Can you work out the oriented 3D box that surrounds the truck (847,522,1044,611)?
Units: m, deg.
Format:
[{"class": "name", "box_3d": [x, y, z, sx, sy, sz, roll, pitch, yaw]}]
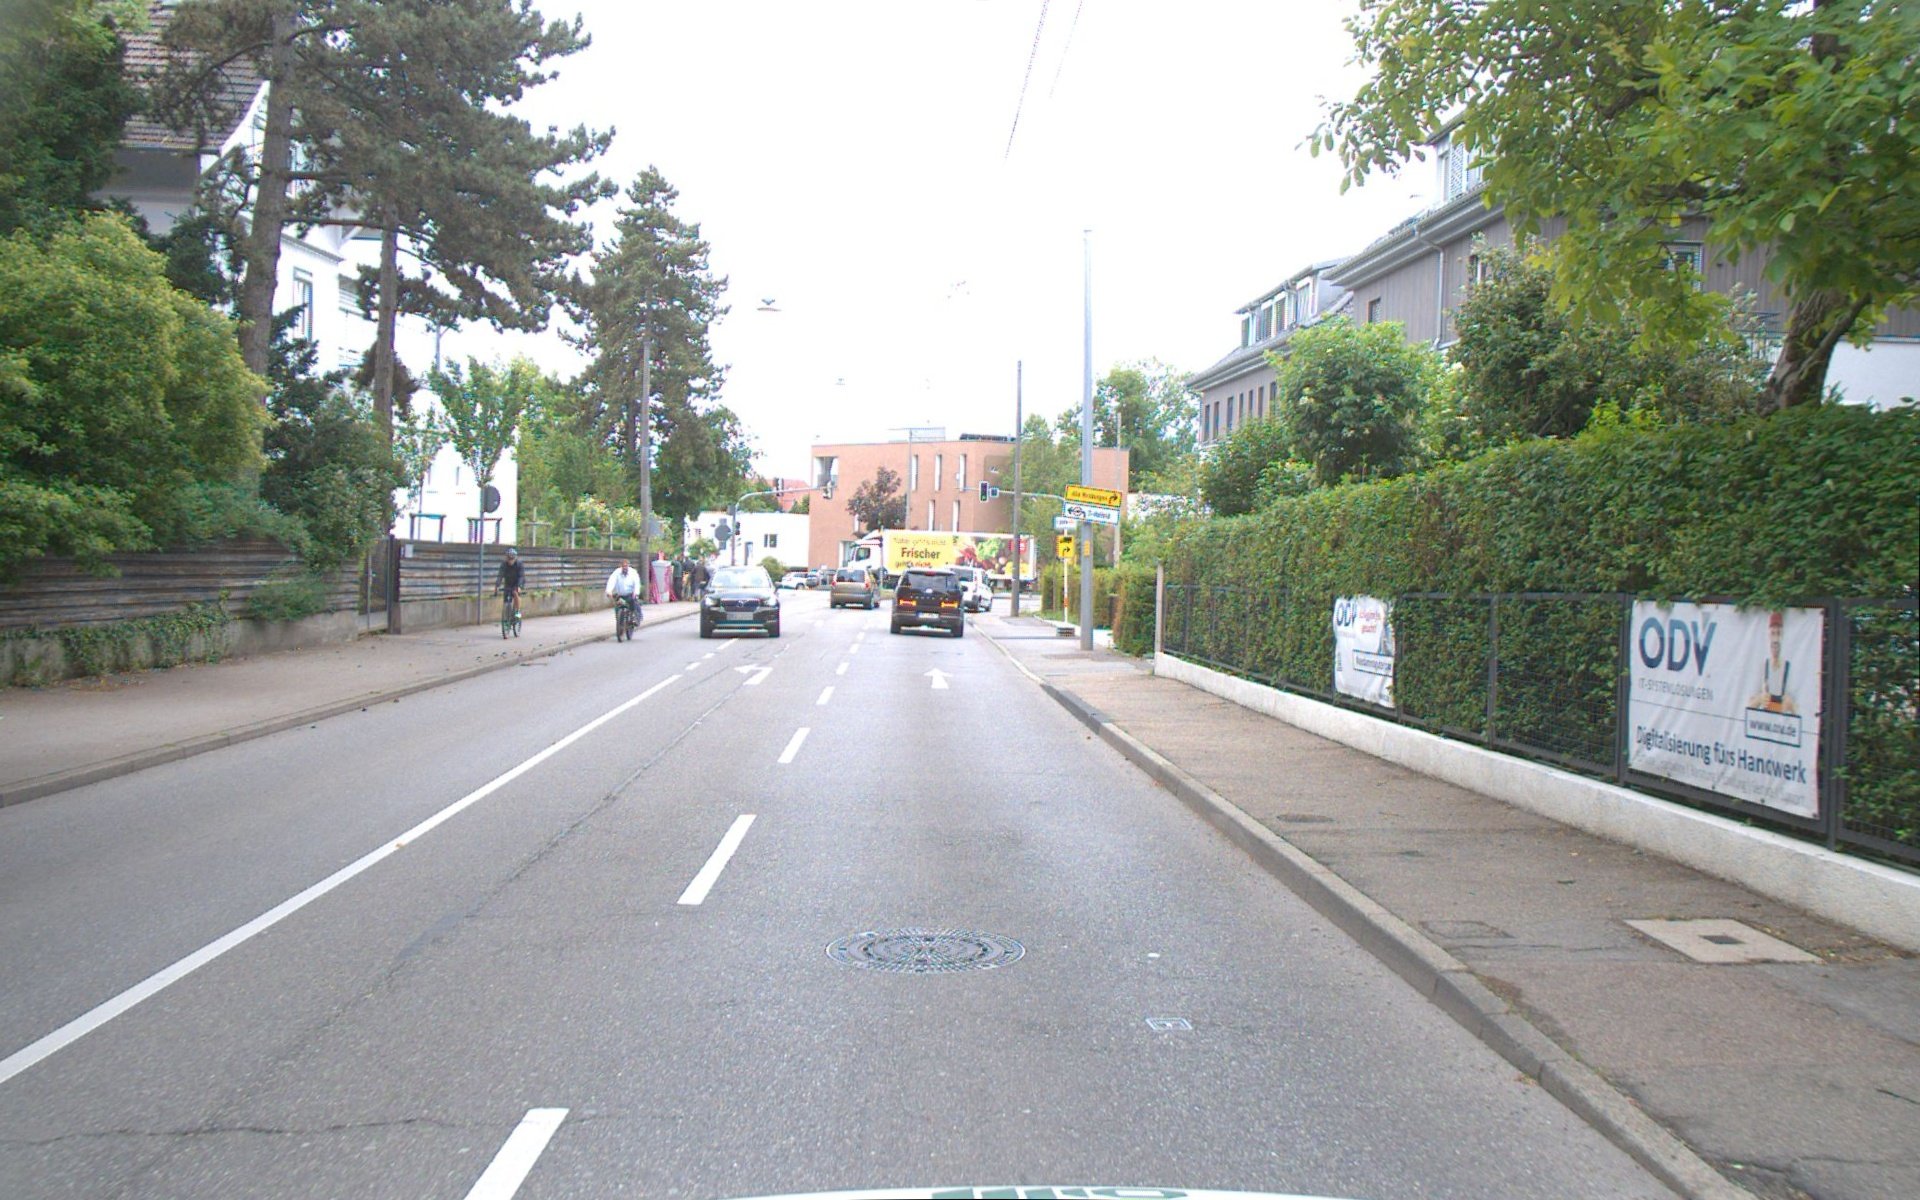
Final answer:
[{"class": "truck", "box_3d": [-0.917, -2.013, 99.534, 11.523, 4.817, 3.133, 2, 1, -4]}]

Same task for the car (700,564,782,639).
[{"class": "car", "box_3d": [-5.157, -0.011, 39.185, 1.797, 1.659, 4.277, 0, 1, -7]}]

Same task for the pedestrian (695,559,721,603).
[{"class": "pedestrian", "box_3d": [-10.389, -0.794, 68.098, 0.683, 1.764, 0.748, 3, 1, 42]}]

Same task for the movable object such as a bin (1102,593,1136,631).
[{"class": "movable object such as a bin", "box_3d": [4.857, 0.371, 50.413, 0.709, 1.092, 0.673, 4, 0, -39]}]

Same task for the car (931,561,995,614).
[{"class": "car", "box_3d": [0.174, -0.574, 72.027, 1.921, 2.047, 4.432, 5, 2, 10]}]

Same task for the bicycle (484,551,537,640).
[{"class": "bicycle", "box_3d": [-9.047, -0.105, 33.327, 0.550, 1.705, 1.980, 3, 1, -3]}]

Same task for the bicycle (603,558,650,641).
[{"class": "bicycle", "box_3d": [-7.369, -0.022, 36.633, 0.743, 1.775, 1.870, 0, 1, -3]}]

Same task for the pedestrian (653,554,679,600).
[{"class": "pedestrian", "box_3d": [-11.917, -0.933, 66.957, 0.804, 1.794, 0.861, 2, 1, -25]}]

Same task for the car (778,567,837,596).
[{"class": "car", "box_3d": [-11.441, -1.376, 124.277, 3.945, 2.048, 1.980, 2, 1, -31]}]

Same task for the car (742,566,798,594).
[{"class": "car", "box_3d": [-15.089, -1.602, 131.266, 3.944, 2.048, 1.981, 1, 1, -30]}]

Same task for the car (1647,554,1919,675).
[{"class": "car", "box_3d": [11.536, 0.181, 22.437, 3.904, 1.489, 2.001, 2, 1, 18]}]

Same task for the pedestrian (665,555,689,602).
[{"class": "pedestrian", "box_3d": [-11.449, -0.863, 66.928, 0.742, 1.869, 0.608, 2, 1, -31]}]

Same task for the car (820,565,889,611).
[{"class": "car", "box_3d": [-4.184, -0.484, 66.117, 1.853, 1.735, 4.004, 2, 1, 9]}]

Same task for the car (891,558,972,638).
[{"class": "car", "box_3d": [-0.763, -0.037, 43.271, 1.953, 1.914, 3.998, 2, 0, -2]}]
